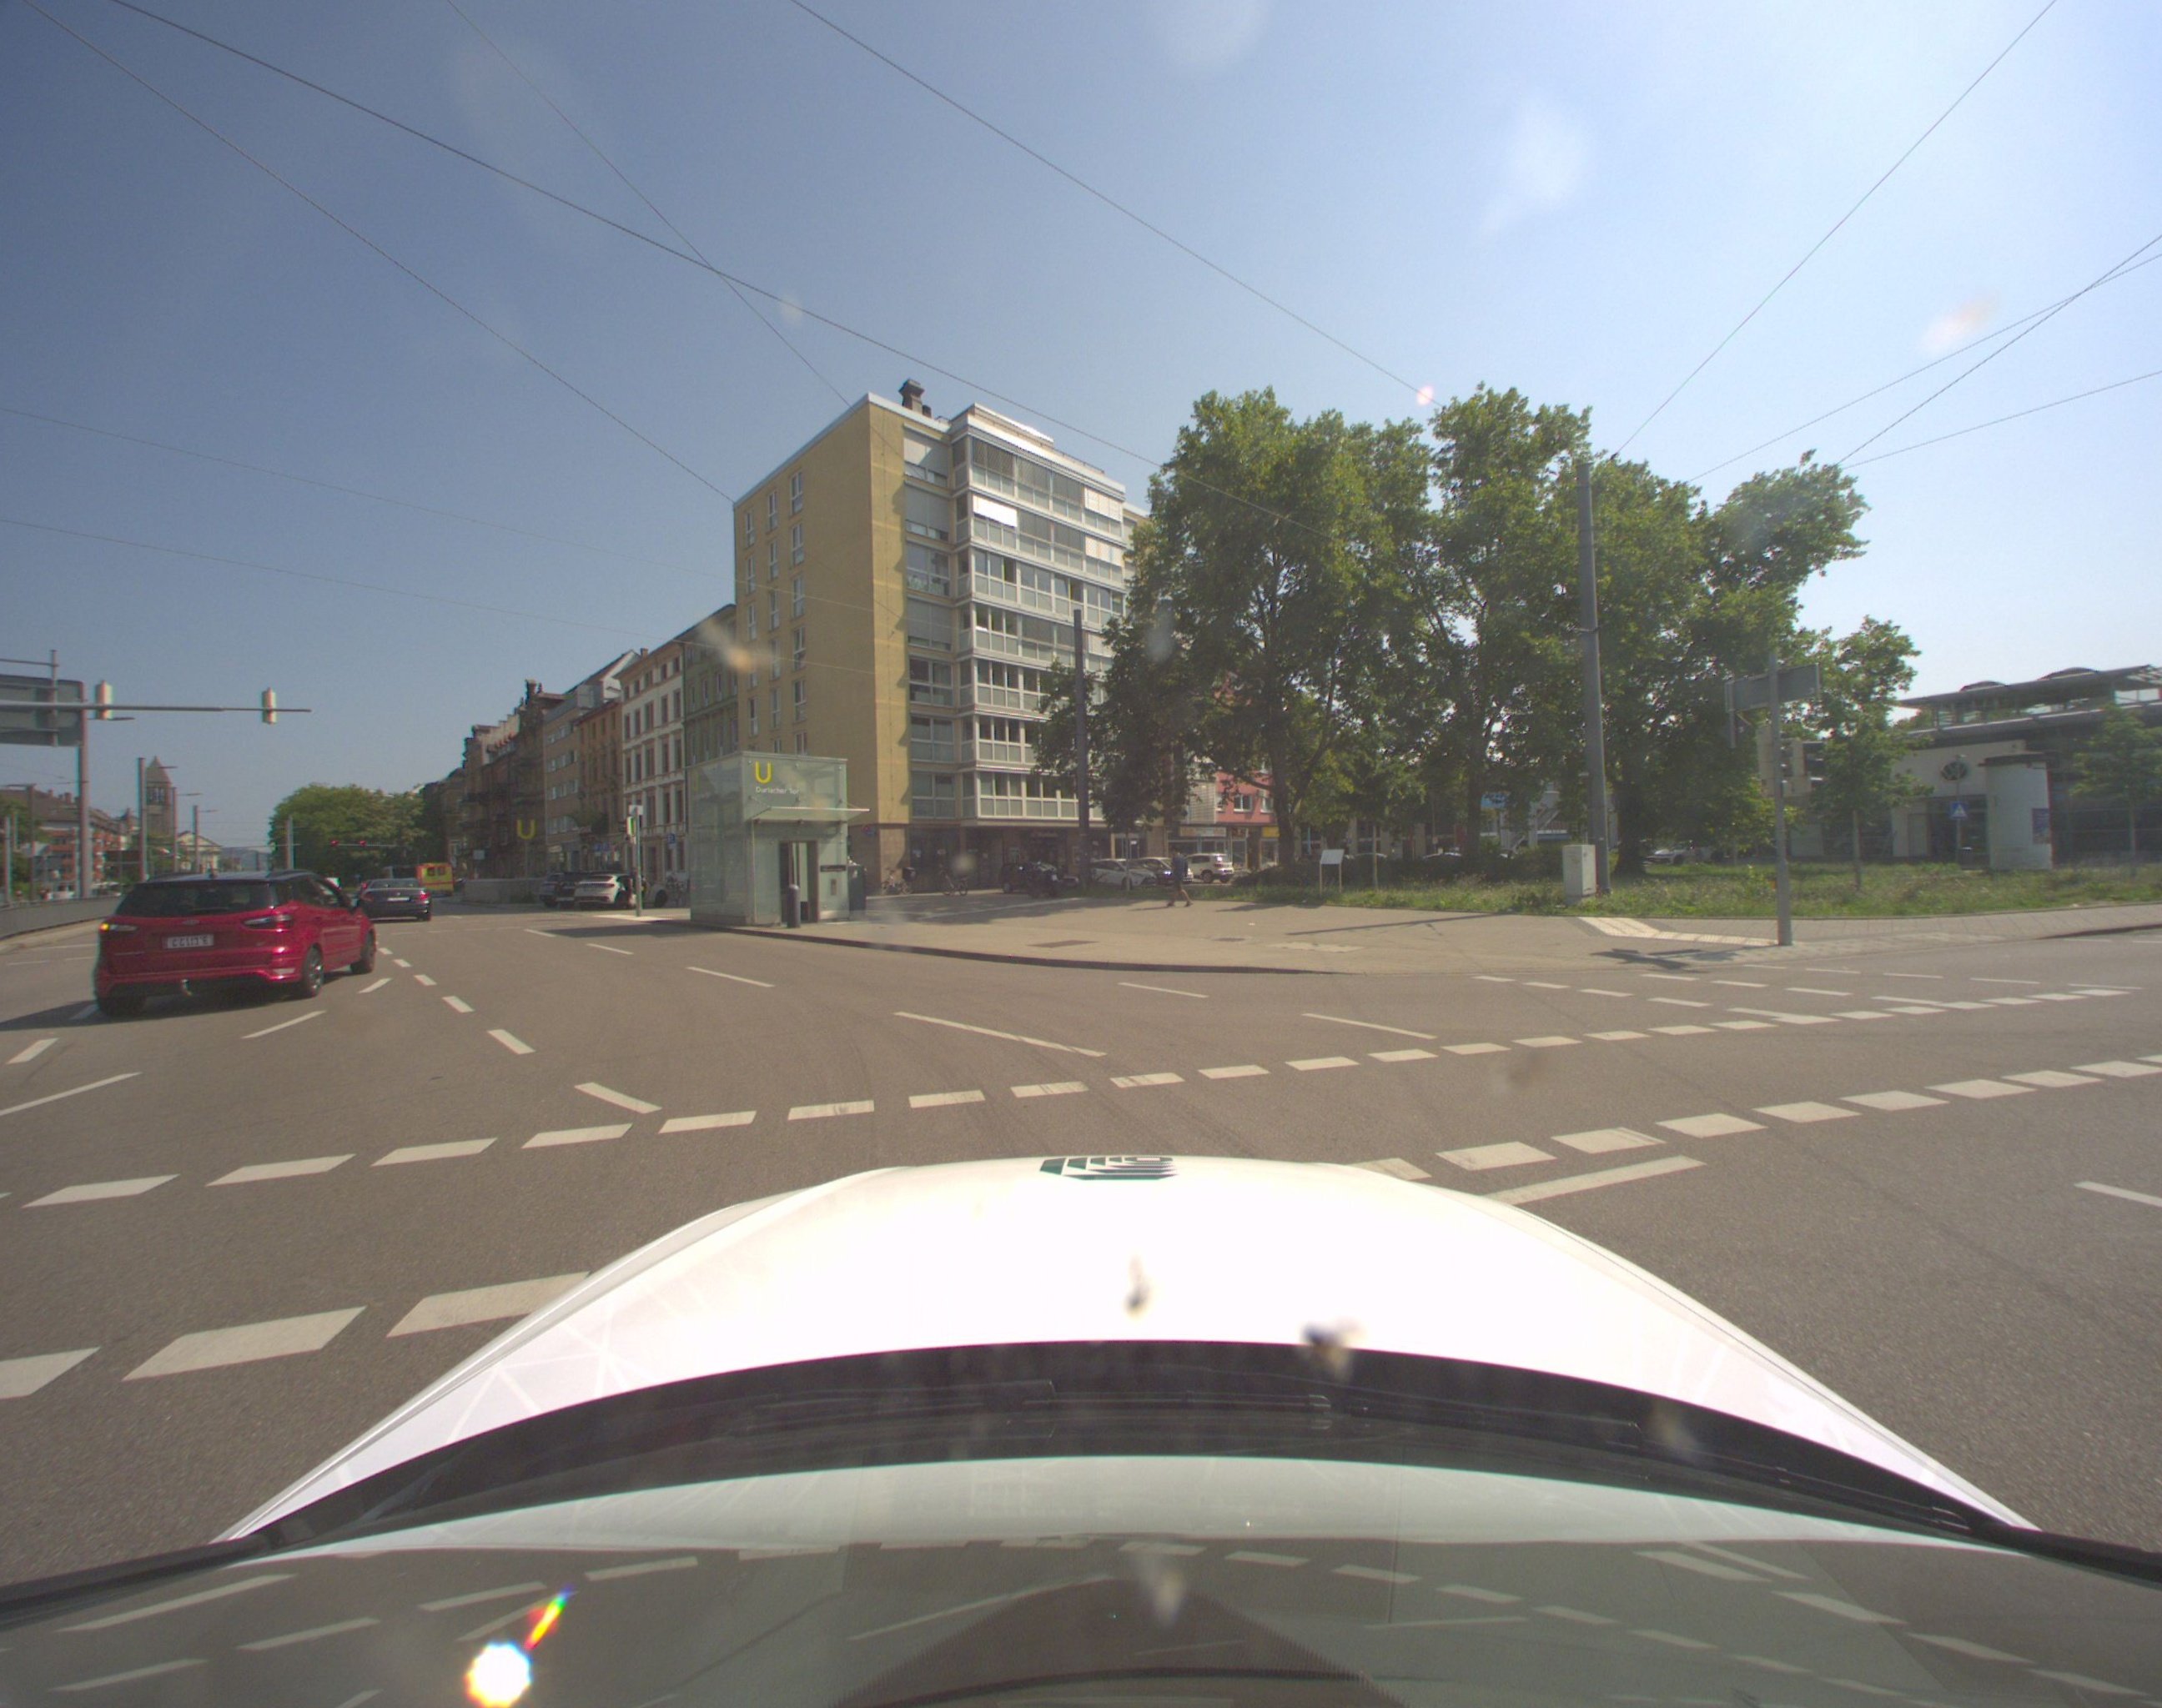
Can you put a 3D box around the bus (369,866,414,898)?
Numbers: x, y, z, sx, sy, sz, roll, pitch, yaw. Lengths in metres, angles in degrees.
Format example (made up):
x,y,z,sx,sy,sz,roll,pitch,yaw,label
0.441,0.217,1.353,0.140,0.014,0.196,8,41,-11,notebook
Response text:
x,y,z,sx,sy,sz,roll,pitch,yaw,label
-71.169,2.846,83.939,2.557,3.032,12.280,-1,-1,-45,bus

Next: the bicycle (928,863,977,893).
x,y,z,sx,sy,sz,roll,pitch,yaw,label
-5.544,1.028,34.939,2.404,1.238,0.799,-2,-1,45,bicycle

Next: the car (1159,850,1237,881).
x,y,z,sx,sy,sz,roll,pitch,yaw,label
6.631,0.651,46.288,4.022,1.666,1.802,-2,0,42,car

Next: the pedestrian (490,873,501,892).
x,y,z,sx,sy,sz,roll,pitch,yaw,label
-53.144,2.558,73.896,0.703,1.667,1.051,-1,-1,-43,pedestrian

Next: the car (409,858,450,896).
x,y,z,sx,sy,sz,roll,pitch,yaw,label
-53.474,1.897,66.827,2.319,2.888,5.532,-3,1,-41,car

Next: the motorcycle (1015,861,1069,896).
x,y,z,sx,sy,sz,roll,pitch,yaw,label
-1.351,0.826,28.048,0.916,1.137,2.091,-1,0,-32,motorcycle

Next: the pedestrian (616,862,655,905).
x,y,z,sx,sy,sz,roll,pitch,yaw,label
-17.894,1.191,32.716,0.894,1.704,1.043,-1,-2,19,pedestrian

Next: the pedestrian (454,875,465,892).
x,y,z,sx,sy,sz,roll,pitch,yaw,label
-61.496,2.875,80.614,0.699,1.667,0.599,-1,-1,-19,pedestrian

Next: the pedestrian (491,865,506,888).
x,y,z,sx,sy,sz,roll,pitch,yaw,label
-44.911,1.743,62.762,0.857,1.729,0.960,-2,2,-38,pedestrian

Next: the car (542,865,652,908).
x,y,z,sx,sy,sz,roll,pitch,yaw,label
-21.267,1.377,36.039,1.971,1.687,4.397,-1,0,4,car

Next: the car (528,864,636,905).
x,y,z,sx,sy,sz,roll,pitch,yaw,label
-23.759,1.393,39.020,2.028,1.713,4.671,-2,0,4,car

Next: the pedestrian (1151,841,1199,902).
x,y,z,sx,sy,sz,roll,pitch,yaw,label
2.561,0.476,22.130,0.937,1.609,0.798,-3,-1,42,pedestrian

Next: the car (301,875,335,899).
x,y,z,sx,sy,sz,roll,pitch,yaw,label
-61.269,2.672,65.389,3.949,1.780,1.807,-3,-2,44,car

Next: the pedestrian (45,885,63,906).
x,y,z,sx,sy,sz,roll,pitch,yaw,label
-88.149,3.563,69.910,0.836,1.752,0.711,-1,-2,-44,pedestrian

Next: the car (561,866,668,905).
x,y,z,sx,sy,sz,roll,pitch,yaw,label
-19.182,1.290,33.680,1.790,1.500,3.795,0,-2,10,car

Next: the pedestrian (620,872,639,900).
x,y,z,sx,sy,sz,roll,pitch,yaw,label
-30.797,2.154,55.602,0.677,1.846,0.849,-2,1,36,pedestrian

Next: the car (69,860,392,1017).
x,y,z,sx,sy,sz,roll,pitch,yaw,label
-10.945,0.921,10.903,1.773,1.618,4.045,-2,0,-28,car

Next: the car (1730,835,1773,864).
x,y,z,sx,sy,sz,roll,pitch,yaw,label
48.243,-0.370,58.691,2.304,2.013,6.852,1,1,39,car

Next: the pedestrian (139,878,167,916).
x,y,z,sx,sy,sz,roll,pitch,yaw,label
-44.450,2.040,39.017,0.768,1.752,1.055,-1,-2,-45,pedestrian

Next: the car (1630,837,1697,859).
x,y,z,sx,sy,sz,roll,pitch,yaw,label
43.536,-0.448,60.847,3.994,1.508,1.990,-2,0,-15,car

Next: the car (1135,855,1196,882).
x,y,z,sx,sy,sz,roll,pitch,yaw,label
4.622,0.796,44.662,3.059,1.429,1.412,-2,0,42,car

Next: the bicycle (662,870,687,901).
x,y,z,sx,sy,sz,roll,pitch,yaw,label
-17.760,1.368,35.541,0.477,1.296,1.769,-2,-1,-43,bicycle

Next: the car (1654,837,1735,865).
x,y,z,sx,sy,sz,roll,pitch,yaw,label
42.567,-0.220,56.570,4.226,1.753,1.718,-2,0,5,car

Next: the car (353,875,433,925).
x,y,z,sx,sy,sz,roll,pitch,yaw,label
-22.482,1.444,26.574,1.806,1.431,3.951,-1,0,-43,car

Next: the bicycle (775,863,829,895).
x,y,z,sx,sy,sz,roll,pitch,yaw,label
-13.368,1.187,39.173,0.896,1.404,3.373,-2,0,9,bicycle

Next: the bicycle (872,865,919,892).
x,y,z,sx,sy,sz,roll,pitch,yaw,label
-8.410,1.108,36.913,1.976,1.143,0.591,-2,0,-30,bicycle

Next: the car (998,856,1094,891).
x,y,z,sx,sy,sz,roll,pitch,yaw,label
-1.626,0.871,36.787,4.193,1.470,1.918,-2,0,42,car

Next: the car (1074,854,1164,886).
x,y,z,sx,sy,sz,roll,pitch,yaw,label
1.869,0.787,40.627,4.193,1.470,1.918,-2,0,42,car
